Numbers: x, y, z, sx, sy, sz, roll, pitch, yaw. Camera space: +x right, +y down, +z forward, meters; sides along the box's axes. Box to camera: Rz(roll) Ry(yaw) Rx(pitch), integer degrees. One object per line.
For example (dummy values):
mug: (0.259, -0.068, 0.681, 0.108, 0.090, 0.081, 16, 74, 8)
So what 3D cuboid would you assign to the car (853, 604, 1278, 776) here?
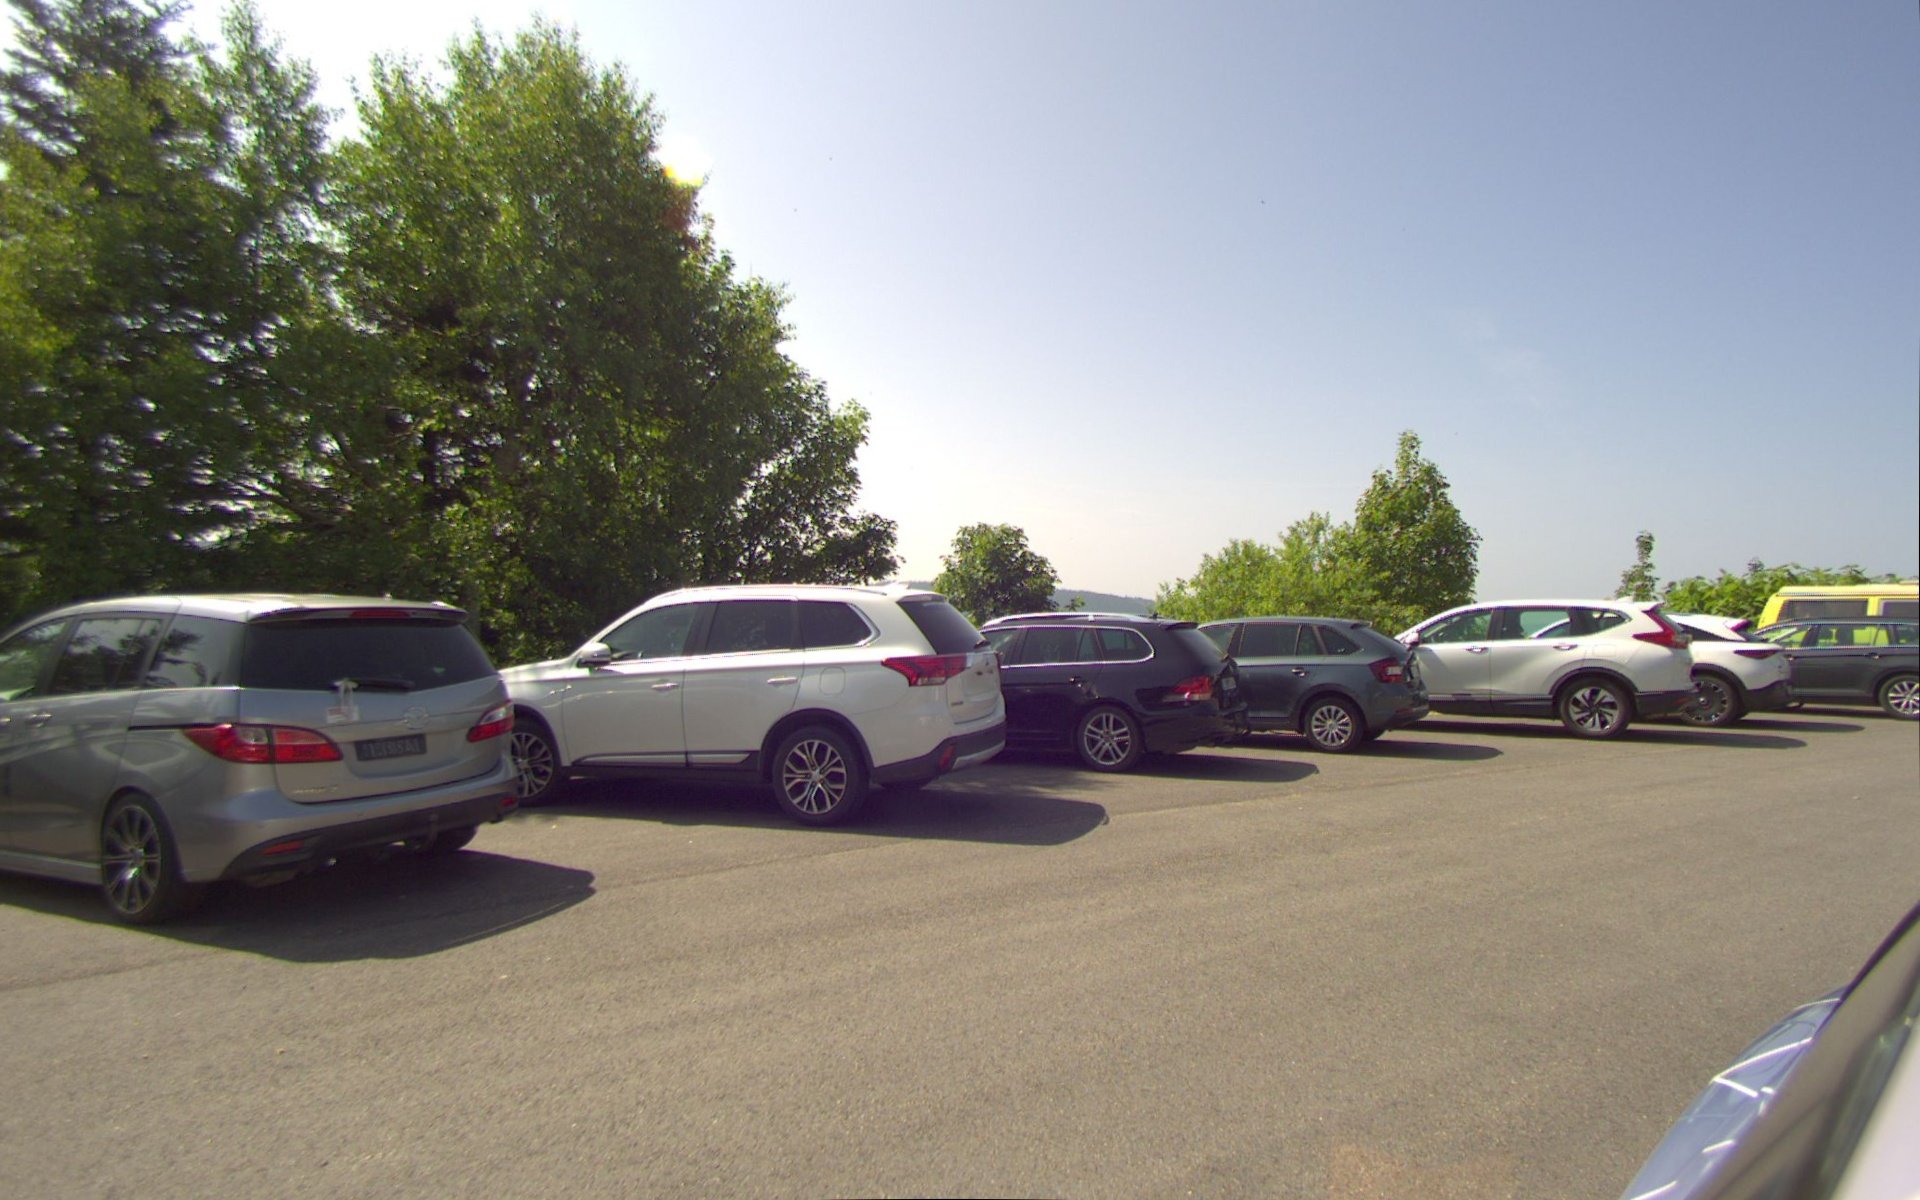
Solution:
car: (1.063, 0.846, 10.565, 4.014, 1.480, 1.875, -2, -2, 29)

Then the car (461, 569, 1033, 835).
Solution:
car: (-1.665, 0.697, 8.127, 4.173, 1.716, 1.851, -1, -1, 20)

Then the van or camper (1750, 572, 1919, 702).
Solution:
van or camper: (16.088, 0.598, 16.163, 1.844, 2.040, 5.111, 2, -3, -28)

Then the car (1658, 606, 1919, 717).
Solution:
car: (13.294, 0.887, 15.107, 1.776, 1.507, 4.366, 2, -3, -31)

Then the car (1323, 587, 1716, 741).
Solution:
car: (7.087, 0.763, 13.017, 4.161, 1.671, 1.866, -2, -2, 38)

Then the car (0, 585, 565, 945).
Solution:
car: (-4.534, 0.786, 6.085, 3.956, 1.569, 1.805, -2, -2, 25)

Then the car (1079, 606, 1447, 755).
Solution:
car: (3.456, 0.862, 11.806, 3.780, 1.478, 1.642, -2, -2, 35)

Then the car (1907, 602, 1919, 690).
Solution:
car: (19.269, 0.841, 17.310, 1.670, 1.609, 4.168, 1, -1, -30)

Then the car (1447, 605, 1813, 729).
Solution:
car: (9.487, 0.838, 14.540, 1.912, 1.519, 4.087, 0, -1, -45)
